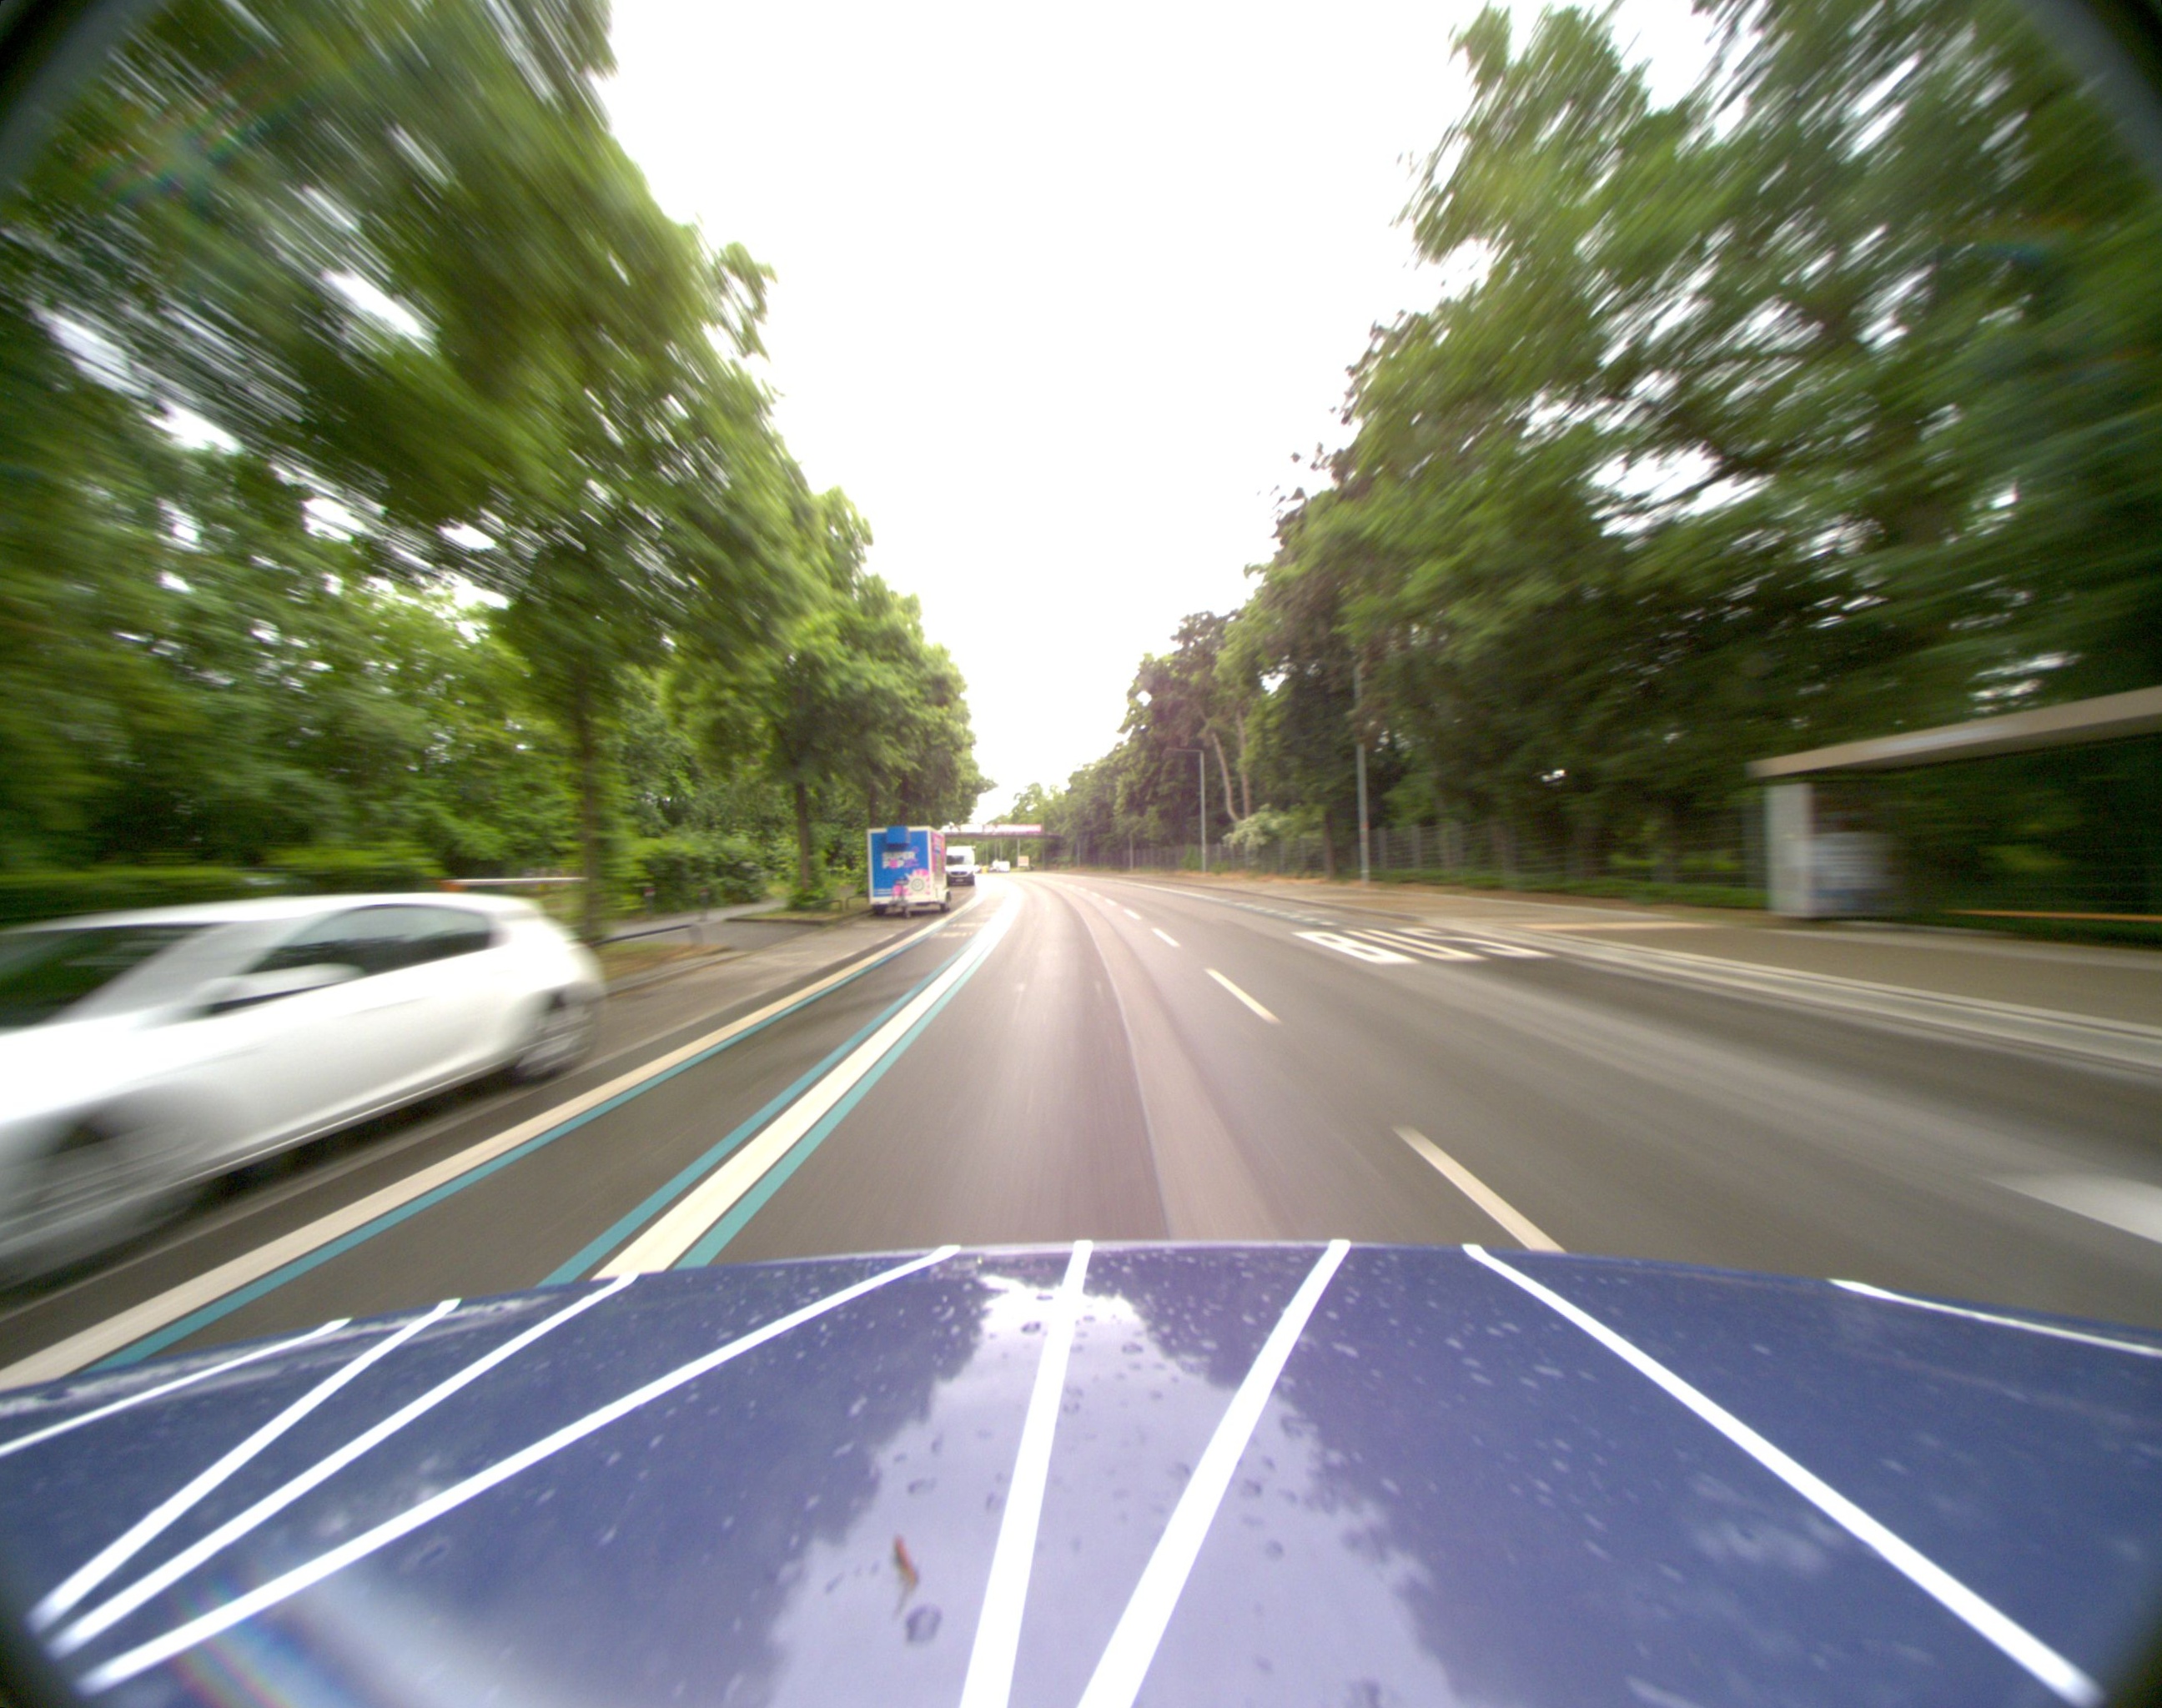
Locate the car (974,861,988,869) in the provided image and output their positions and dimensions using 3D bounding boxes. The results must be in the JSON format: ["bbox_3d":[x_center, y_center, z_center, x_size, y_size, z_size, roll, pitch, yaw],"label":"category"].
[{"bbox_3d":[-17.497,1.899,133.189,1.767,1.428,4.145,-2,0,-15],"label":"car"}]

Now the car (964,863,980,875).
[{"bbox_3d":[-15.276,2.108,106.224,1.830,1.453,3.878,-2,-1,-14],"label":"car"}]

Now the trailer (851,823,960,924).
[{"bbox_3d":[-5.221,0.528,23.415,2.323,2.656,5.374,-2,0,-4],"label":"trailer"}]

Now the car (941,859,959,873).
[{"bbox_3d":[-15.099,1.333,87.549,1.667,1.526,3.737,-2,0,-14],"label":"car"}]

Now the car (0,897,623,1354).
[{"bbox_3d":[-4.826,1.127,4.000,1.864,1.419,4.649,-3,0,1],"label":"car"}]

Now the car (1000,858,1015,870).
[{"bbox_3d":[-12.900,1.788,132.561,1.986,1.902,5.223,-1,-2,-11],"label":"car"}]

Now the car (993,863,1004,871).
[{"bbox_3d":[-15.863,2.507,146.042,1.614,1.436,4.034,0,-2,-14],"label":"car"}]

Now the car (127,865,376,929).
[{"bbox_3d":[-19.327,0.953,17.805,4.144,1.314,1.892,1,1,8],"label":"car"}]

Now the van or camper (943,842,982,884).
[{"bbox_3d":[-8.061,0.598,52.307,2.324,2.649,6.378,-2,0,-7],"label":"van or camper"}]
